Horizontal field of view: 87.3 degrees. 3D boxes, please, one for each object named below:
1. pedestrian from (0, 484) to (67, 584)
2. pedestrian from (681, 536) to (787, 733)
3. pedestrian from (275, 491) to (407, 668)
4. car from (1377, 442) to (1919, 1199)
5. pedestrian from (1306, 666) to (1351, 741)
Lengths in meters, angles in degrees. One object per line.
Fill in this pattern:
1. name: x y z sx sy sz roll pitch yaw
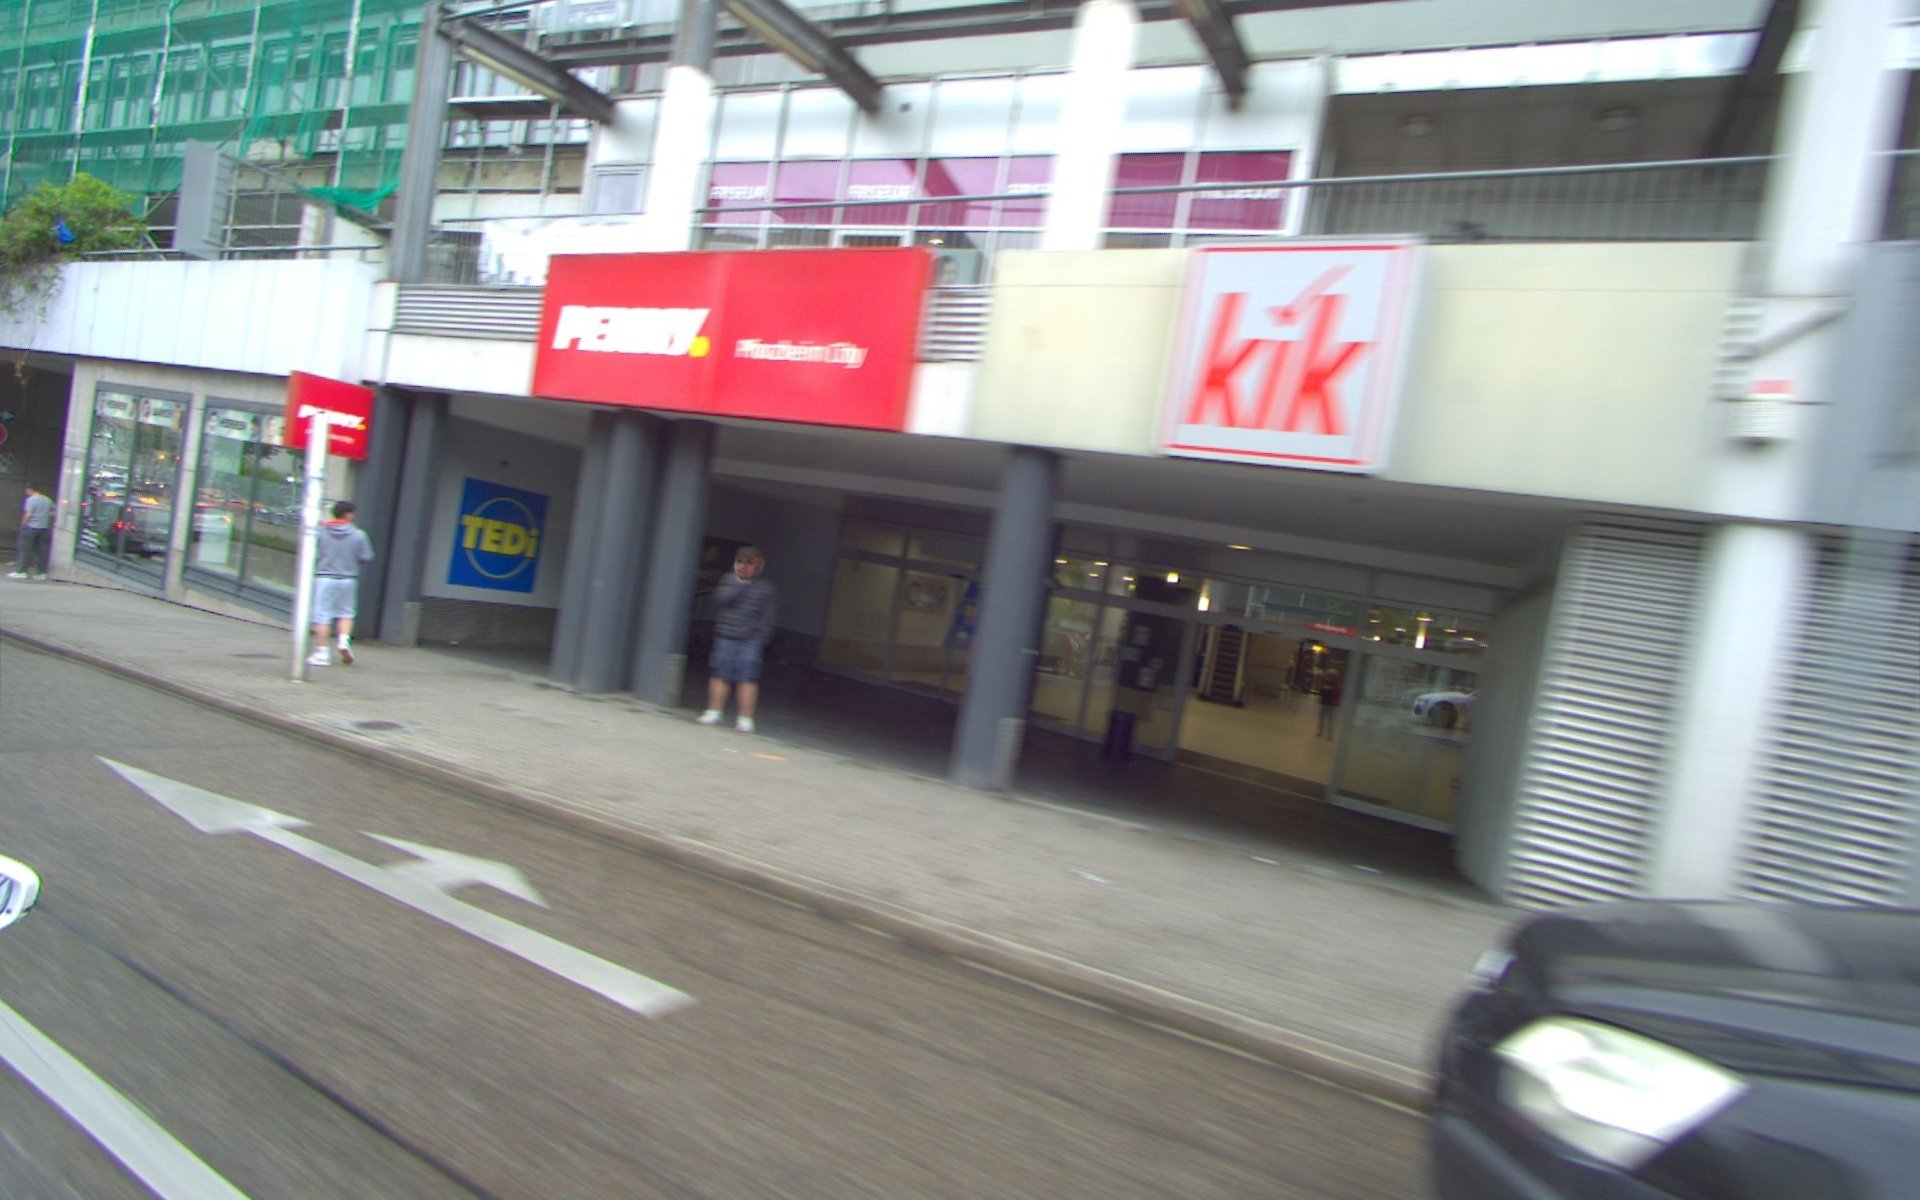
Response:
1. pedestrian: -16.492 -1.161 17.906 0.634 1.671 0.559 5 2 -20
2. pedestrian: -2.150 0.316 9.672 0.658 1.737 0.817 7 2 -1
3. pedestrian: -6.605 -0.208 10.742 0.816 1.745 0.835 8 2 37
4. car: 3.011 0.973 1.398 4.229 1.808 1.910 9 1 31
5. pedestrian: 9.212 2.573 25.139 0.628 1.740 0.769 11 2 31
